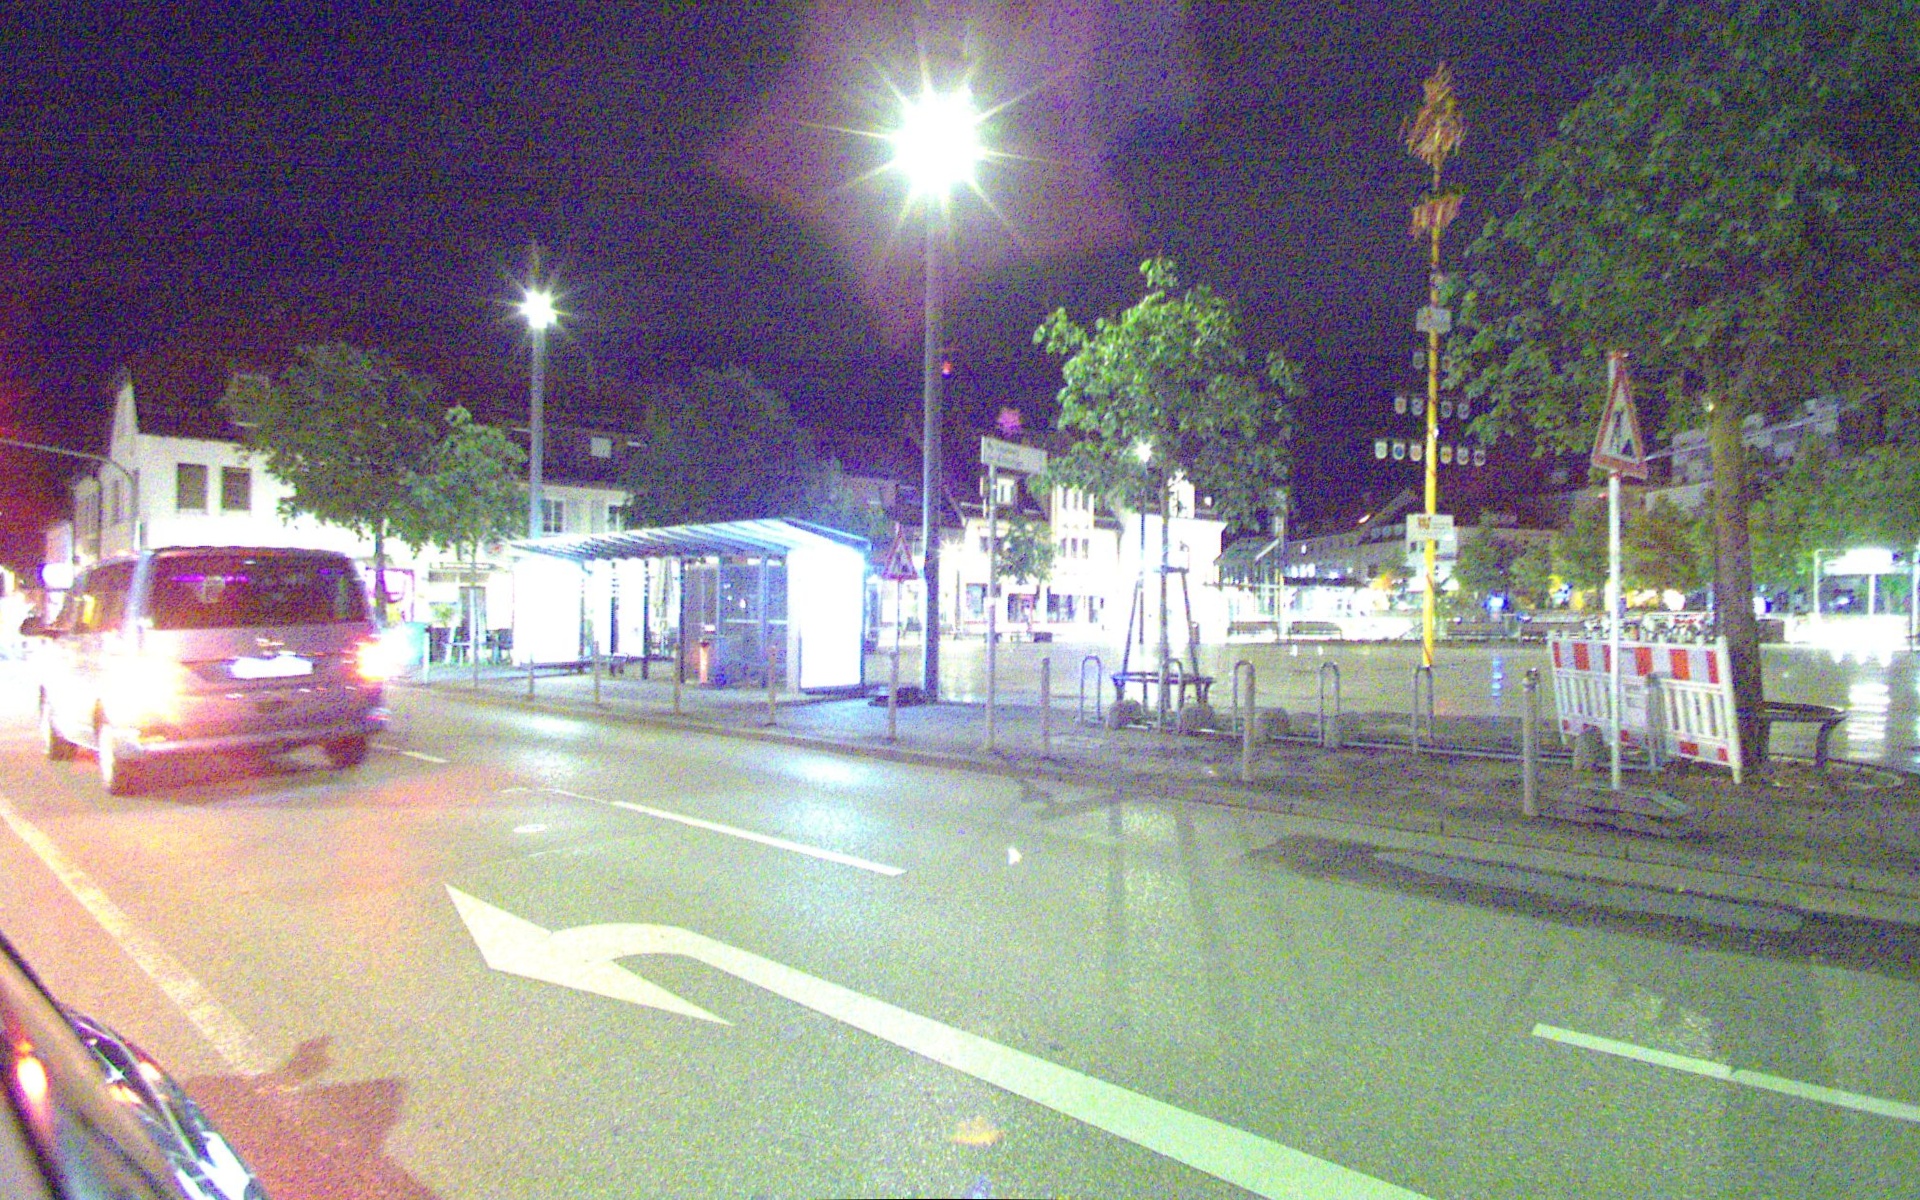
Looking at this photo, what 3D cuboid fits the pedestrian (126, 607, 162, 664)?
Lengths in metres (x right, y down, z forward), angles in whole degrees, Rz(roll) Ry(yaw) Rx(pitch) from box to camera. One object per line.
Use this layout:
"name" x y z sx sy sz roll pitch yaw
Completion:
"pedestrian" -23.625 1.018 29.309 0.573 1.640 0.649 -1 0 -15

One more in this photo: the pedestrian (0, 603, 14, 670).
"pedestrian" -24.552 0.919 25.761 0.531 1.694 0.649 -1 0 -27

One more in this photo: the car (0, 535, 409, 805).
"car" -7.182 0.524 9.393 4.907 1.886 1.947 -1 -1 39

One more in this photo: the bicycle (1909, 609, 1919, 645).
"bicycle" 26.413 0.724 26.971 1.525 0.965 0.476 -1 0 25
